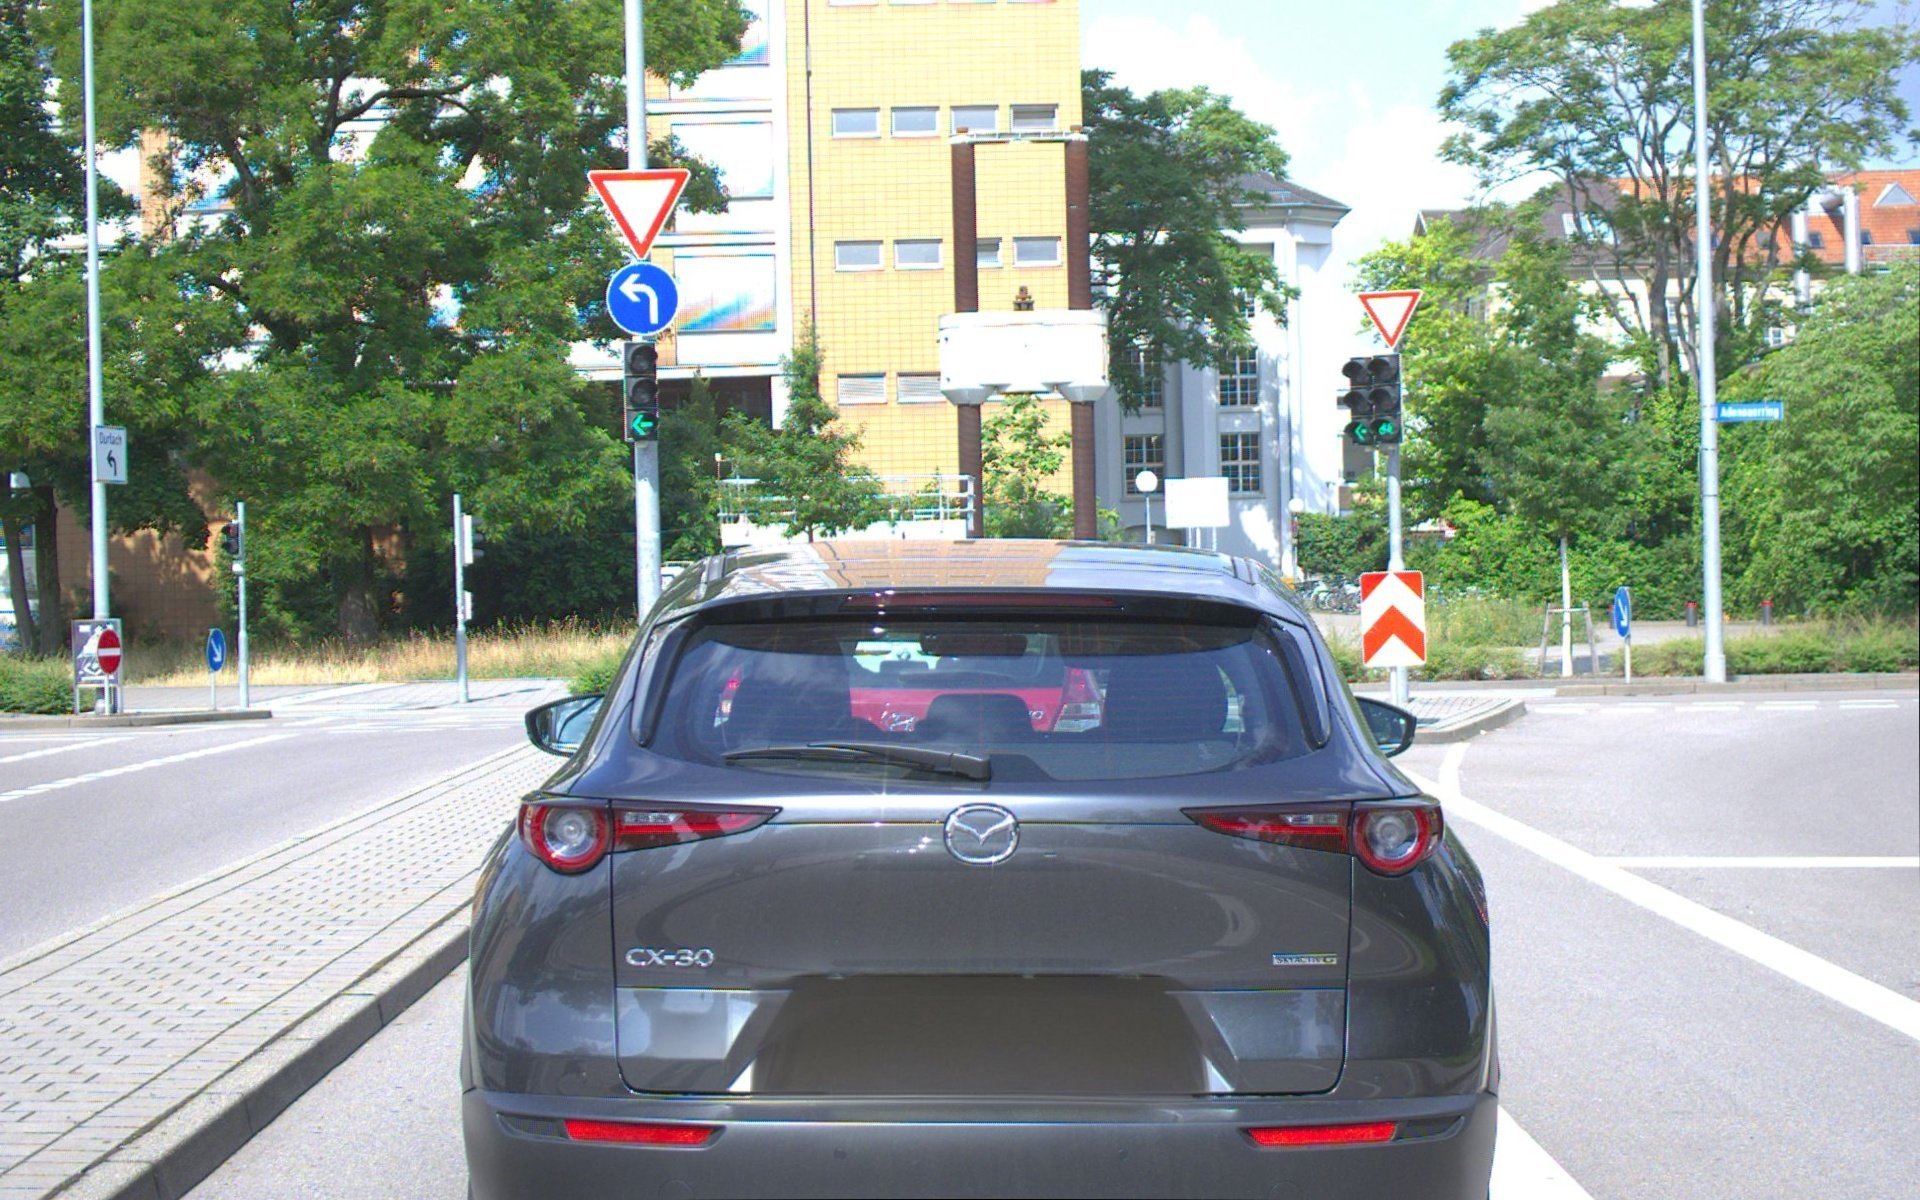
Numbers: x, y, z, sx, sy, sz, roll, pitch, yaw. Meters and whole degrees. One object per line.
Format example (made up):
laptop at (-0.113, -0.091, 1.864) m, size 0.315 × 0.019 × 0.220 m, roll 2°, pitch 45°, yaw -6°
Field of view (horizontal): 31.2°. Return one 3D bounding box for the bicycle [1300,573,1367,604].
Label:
bicycle at (11.998, -0.380, 110.517) m, size 2.055 × 0.933 × 0.804 m, roll -1°, pitch 0°, yaw -1°

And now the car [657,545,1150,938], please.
car at (-0.151, 0.533, 14.824) m, size 1.816 × 1.434 × 4.067 m, roll 1°, pitch 0°, yaw 2°

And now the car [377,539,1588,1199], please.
car at (0.005, 0.653, 7.290) m, size 1.806 × 1.503 × 4.205 m, roll 1°, pitch 1°, yaw -1°

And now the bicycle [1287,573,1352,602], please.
bicycle at (12.060, -0.425, 115.376) m, size 2.055 × 0.933 × 0.804 m, roll -1°, pitch 0°, yaw -1°

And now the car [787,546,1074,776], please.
car at (-0.171, 0.381, 24.820) m, size 1.848 × 1.467 × 4.335 m, roll -2°, pitch 1°, yaw 1°

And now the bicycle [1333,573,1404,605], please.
bicycle at (12.551, -0.331, 105.748) m, size 2.055 × 0.933 × 0.804 m, roll -1°, pitch 0°, yaw -1°
